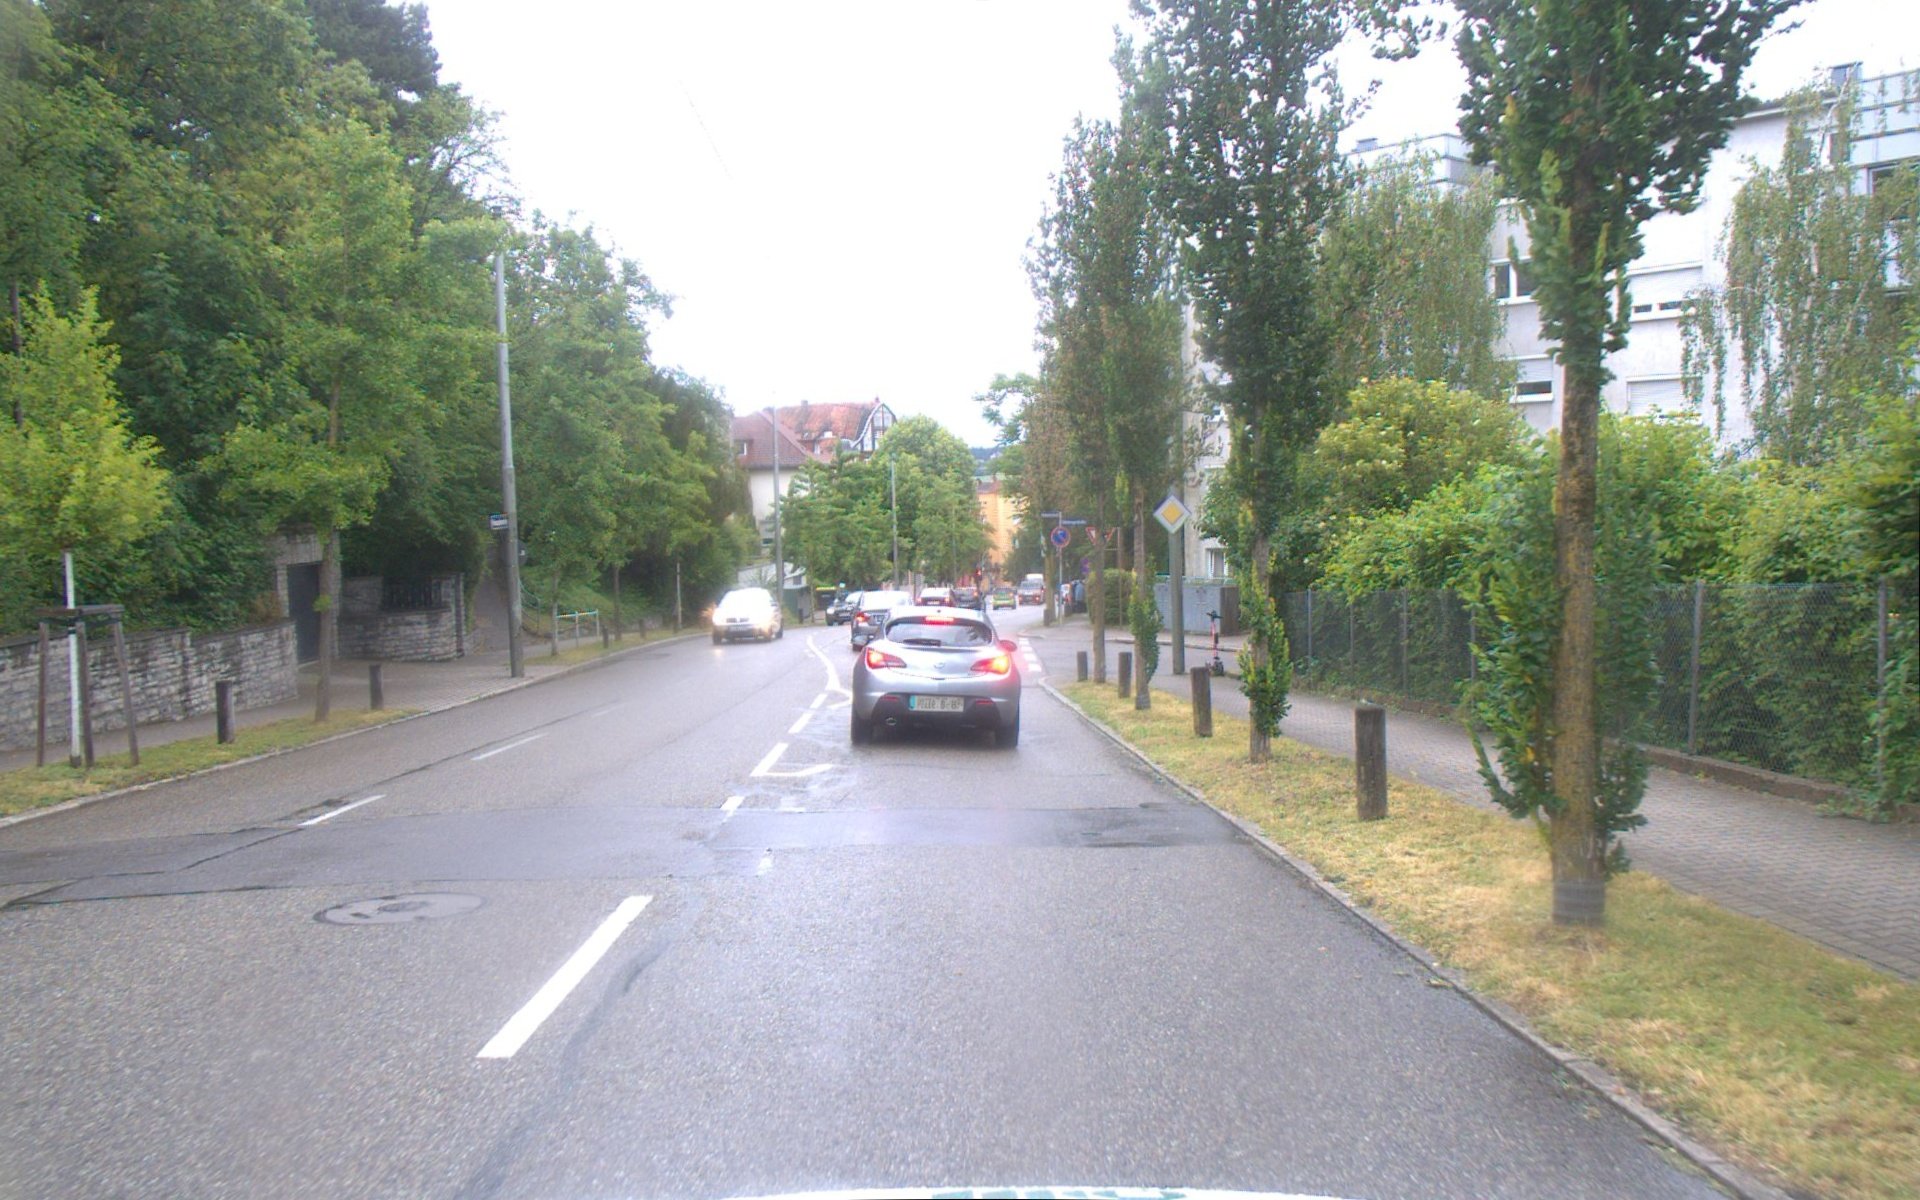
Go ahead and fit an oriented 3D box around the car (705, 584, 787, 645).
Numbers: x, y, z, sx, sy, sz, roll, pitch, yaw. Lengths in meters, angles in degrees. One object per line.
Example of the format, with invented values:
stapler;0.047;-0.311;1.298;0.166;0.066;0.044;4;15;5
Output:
car;-6.016;0.378;46.859;1.729;1.511;3.802;-3;1;1

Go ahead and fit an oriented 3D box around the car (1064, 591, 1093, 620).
car;6.407;0.303;89.313;1.472;1.460;4.002;-2;0;5

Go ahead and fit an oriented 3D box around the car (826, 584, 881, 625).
car;-4.621;0.189;72.519;1.872;1.612;4.587;-4;0;2

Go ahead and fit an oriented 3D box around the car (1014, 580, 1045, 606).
car;5.929;-0.644;141.004;2.284;2.071;4.739;2;1;6

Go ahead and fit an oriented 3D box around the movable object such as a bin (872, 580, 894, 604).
movable object such as a bin;-4.539;-0.495;97.162;1.245;1.411;0.489;0;1;4

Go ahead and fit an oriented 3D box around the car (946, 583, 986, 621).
car;0.332;0.076;86.463;1.731;1.812;3.979;2;1;4

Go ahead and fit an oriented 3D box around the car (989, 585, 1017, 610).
car;2.993;-0.193;115.299;1.717;1.680;4.002;2;0;4

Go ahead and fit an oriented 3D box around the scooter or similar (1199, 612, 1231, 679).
scooter or similar;4.989;0.878;32.398;0.336;1.276;1.267;2;-1;-2

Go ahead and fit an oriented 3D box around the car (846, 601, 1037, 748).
car;-0.224;0.766;18.780;1.906;1.457;3.883;1;0;-1

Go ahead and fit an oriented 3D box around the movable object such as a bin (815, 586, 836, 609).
movable object such as a bin;-8.375;-0.146;103.133;1.245;1.411;0.489;0;1;4

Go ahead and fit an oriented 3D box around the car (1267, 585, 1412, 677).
car;6.774;0.501;29.881;1.474;1.460;3.998;3;1;-3

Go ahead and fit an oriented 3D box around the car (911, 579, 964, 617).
car;-0.956;-0.099;71.468;1.919;1.497;3.953;2;1;4

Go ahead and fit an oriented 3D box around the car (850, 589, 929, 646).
car;-1.705;0.404;41.188;1.760;1.346;4.000;0;0;1

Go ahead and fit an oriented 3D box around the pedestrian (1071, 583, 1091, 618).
pedestrian;6.319;0.040;86.584;0.724;1.753;0.761;-4;0;-19

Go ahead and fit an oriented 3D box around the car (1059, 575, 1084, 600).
car;9.962;-1.152;147.861;1.951;2.071;4.738;2;1;6

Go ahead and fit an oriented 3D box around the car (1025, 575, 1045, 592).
car;8.812;-1.937;194.334;1.951;1.815;4.003;2;1;7
